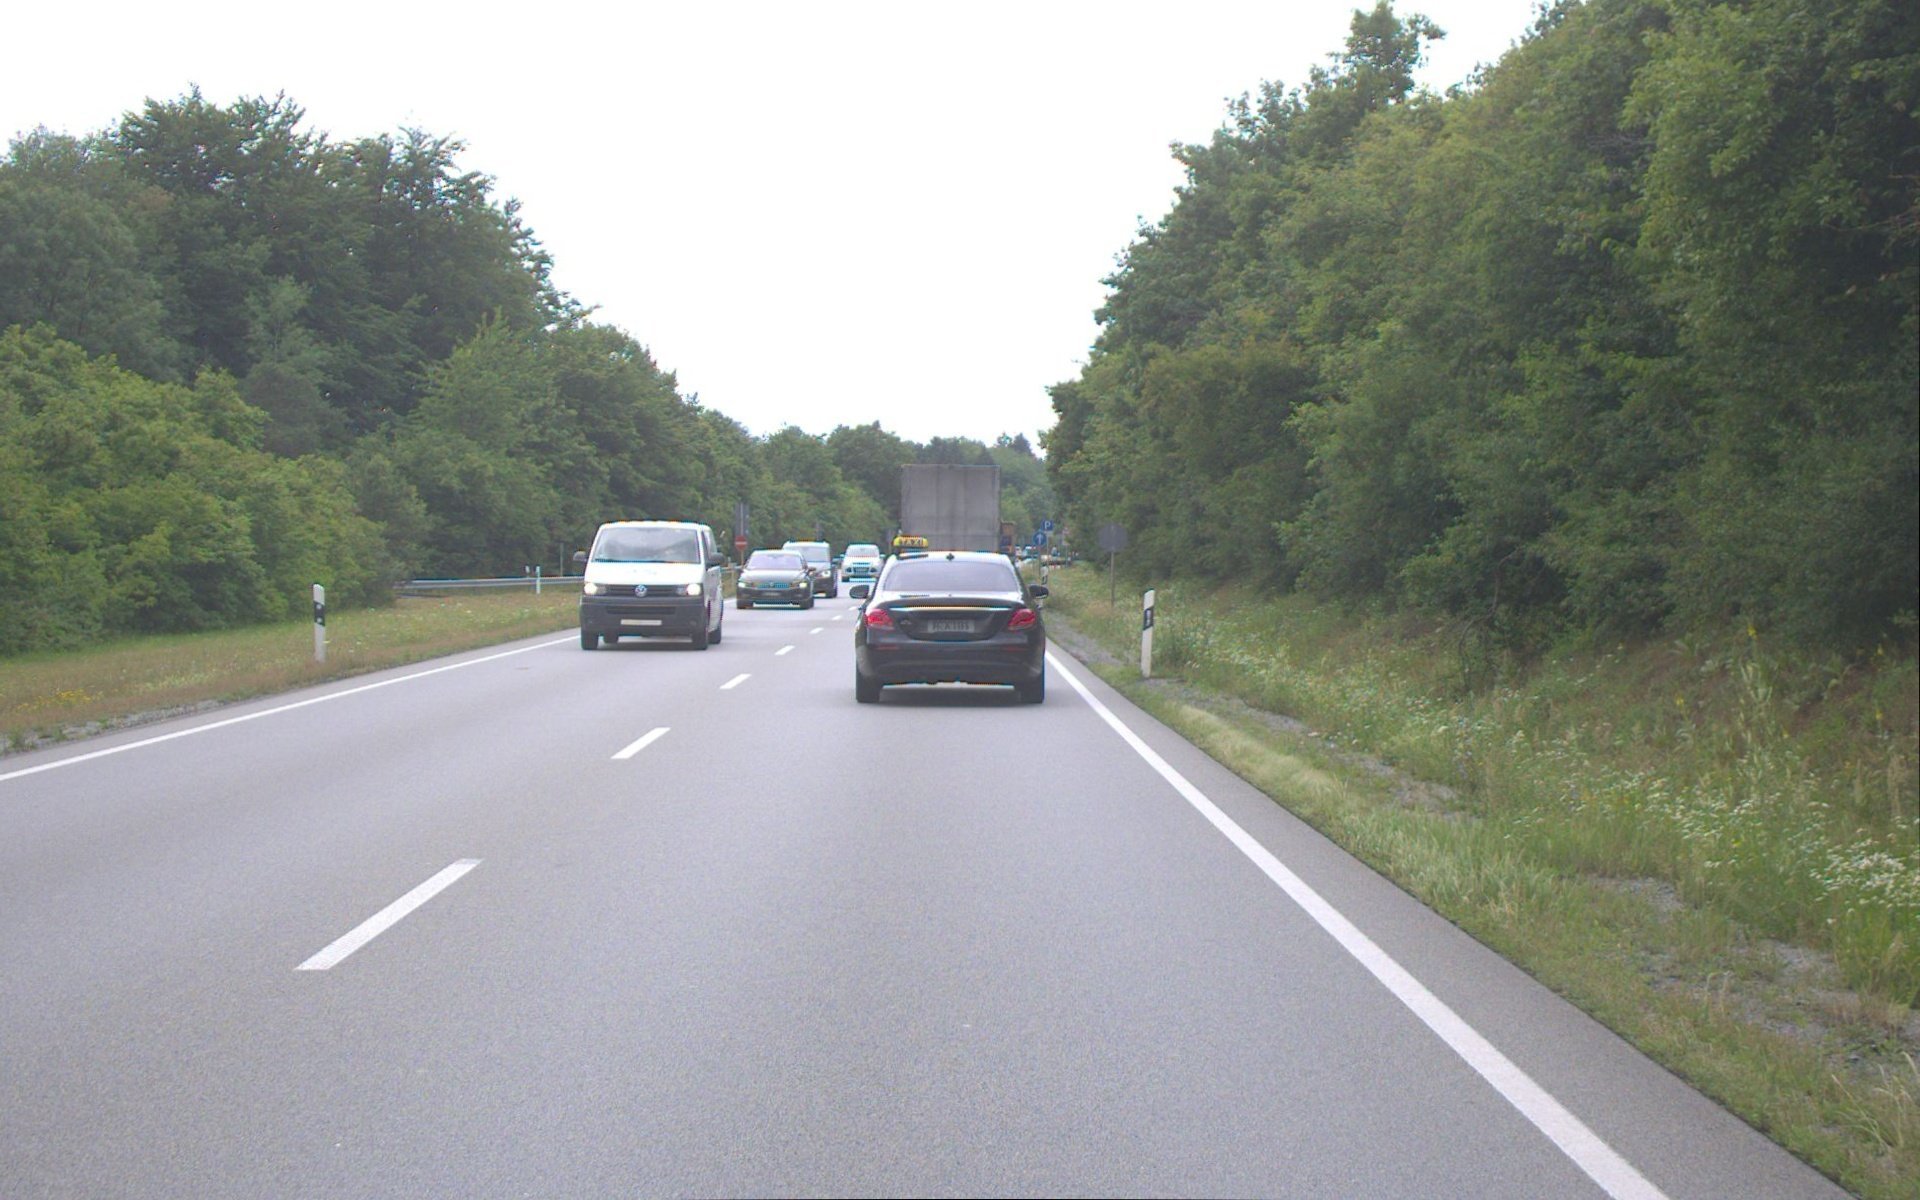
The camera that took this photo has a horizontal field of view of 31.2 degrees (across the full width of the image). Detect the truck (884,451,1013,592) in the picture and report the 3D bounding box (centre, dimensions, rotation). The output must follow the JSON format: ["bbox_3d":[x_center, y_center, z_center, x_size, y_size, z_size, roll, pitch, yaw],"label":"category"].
[{"bbox_3d":[-0.248,-2.093,94.141,3.281,3.599,11.400,1,1,1],"label":"truck"}]

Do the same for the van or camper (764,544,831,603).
[{"bbox_3d":[-5.047,-0.846,106.580,1.993,1.777,4.423,1,1,-4],"label":"van or camper"}]

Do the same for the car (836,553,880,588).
[{"bbox_3d":[-4.668,-1.369,157.826,1.875,1.554,3.755,1,1,0],"label":"car"}]

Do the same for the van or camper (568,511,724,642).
[{"bbox_3d":[-4.750,-0.373,52.725,1.921,1.886,5.362,1,1,0],"label":"van or camper"}]

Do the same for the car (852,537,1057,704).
[{"bbox_3d":[-0.113,0.162,34.137,1.791,1.546,4.001,1,1,-3],"label":"car"}]

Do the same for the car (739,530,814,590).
[{"bbox_3d":[-4.633,-1.025,87.312,1.688,1.474,4.456,1,1,0],"label":"car"}]
